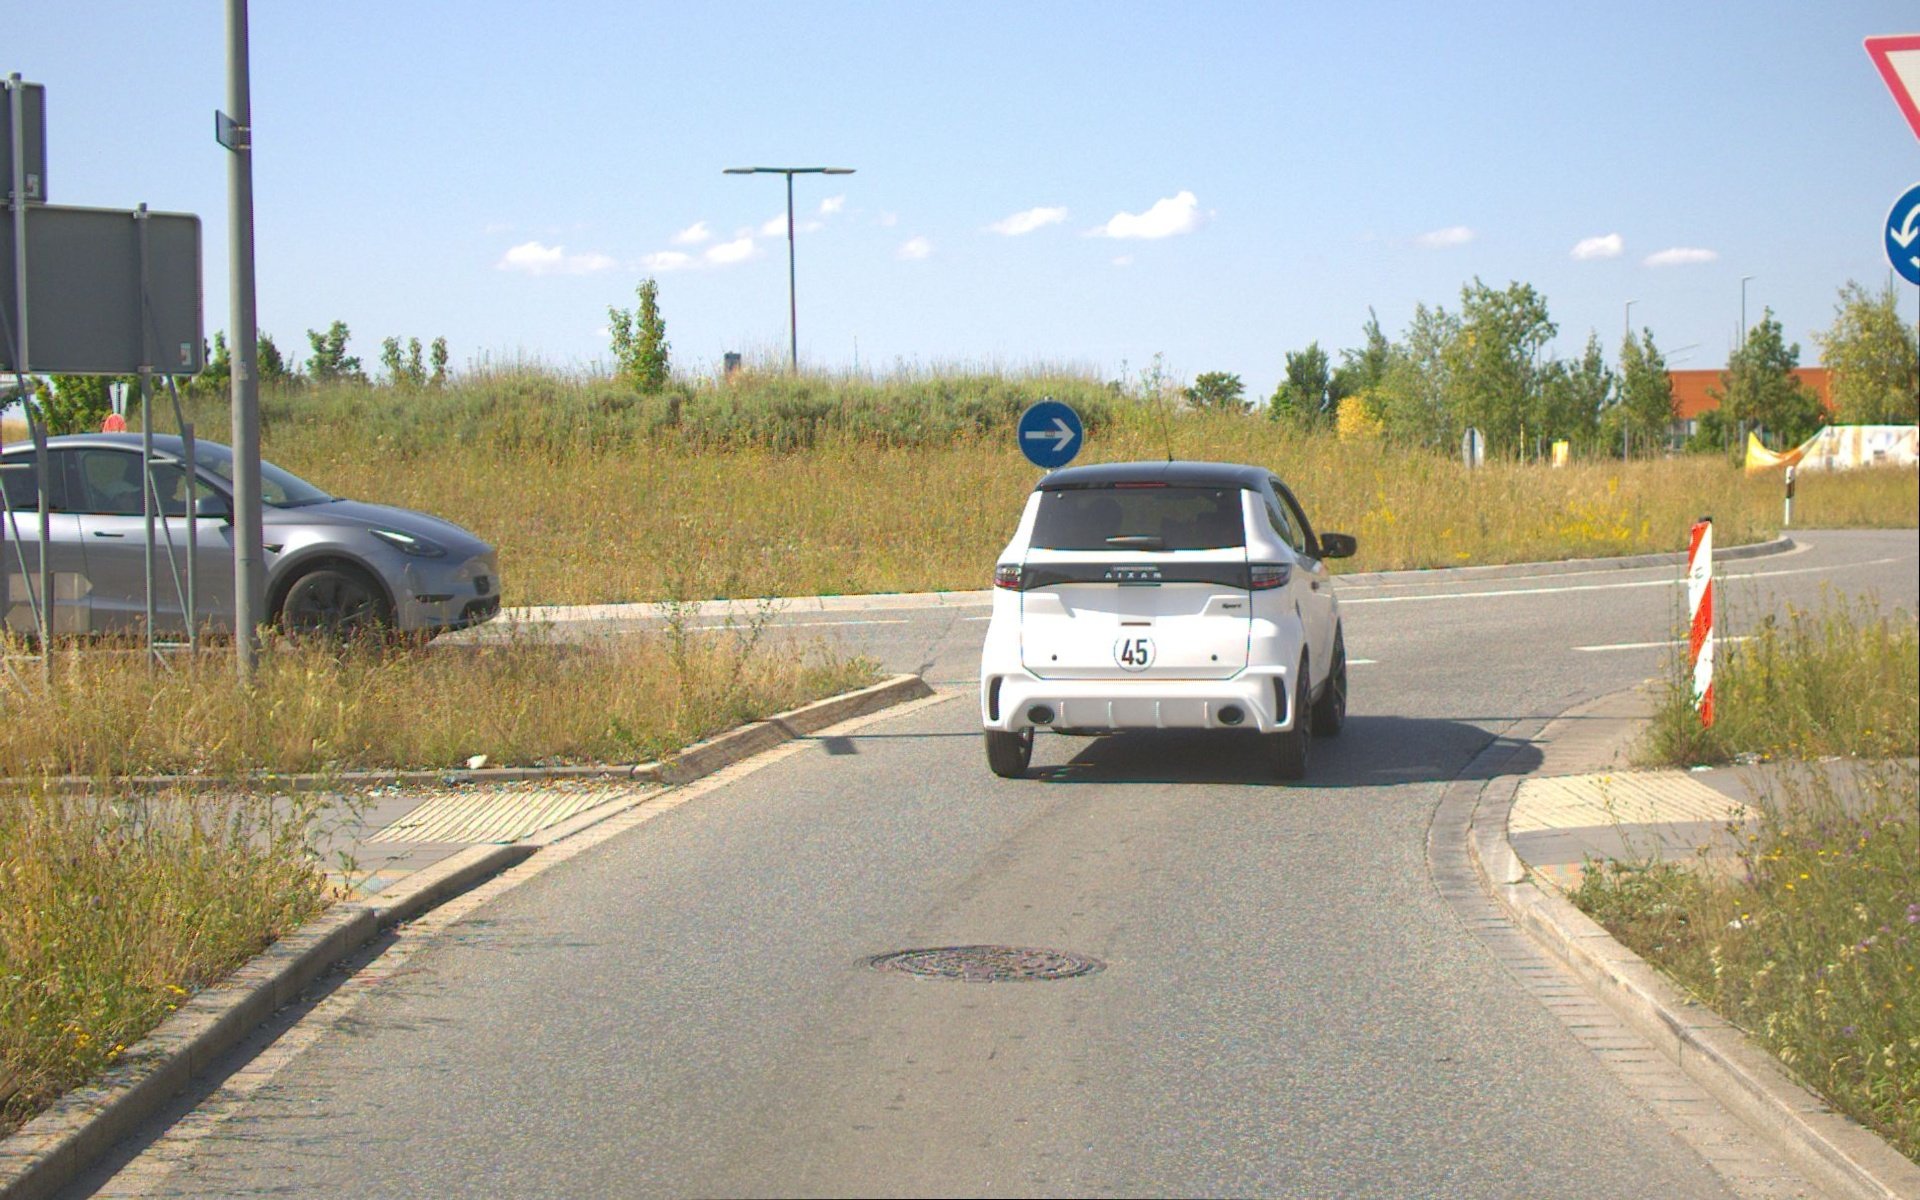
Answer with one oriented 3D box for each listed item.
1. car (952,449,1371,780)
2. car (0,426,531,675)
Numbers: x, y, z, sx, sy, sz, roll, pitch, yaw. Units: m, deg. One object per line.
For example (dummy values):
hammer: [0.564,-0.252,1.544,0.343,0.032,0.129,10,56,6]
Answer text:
car: [1.130,-0.012,17.484,1.617,1.429,3.791,0,3,11]
car: [-5.496,-0.368,23.922,4.610,1.620,1.963,0,3,8]
